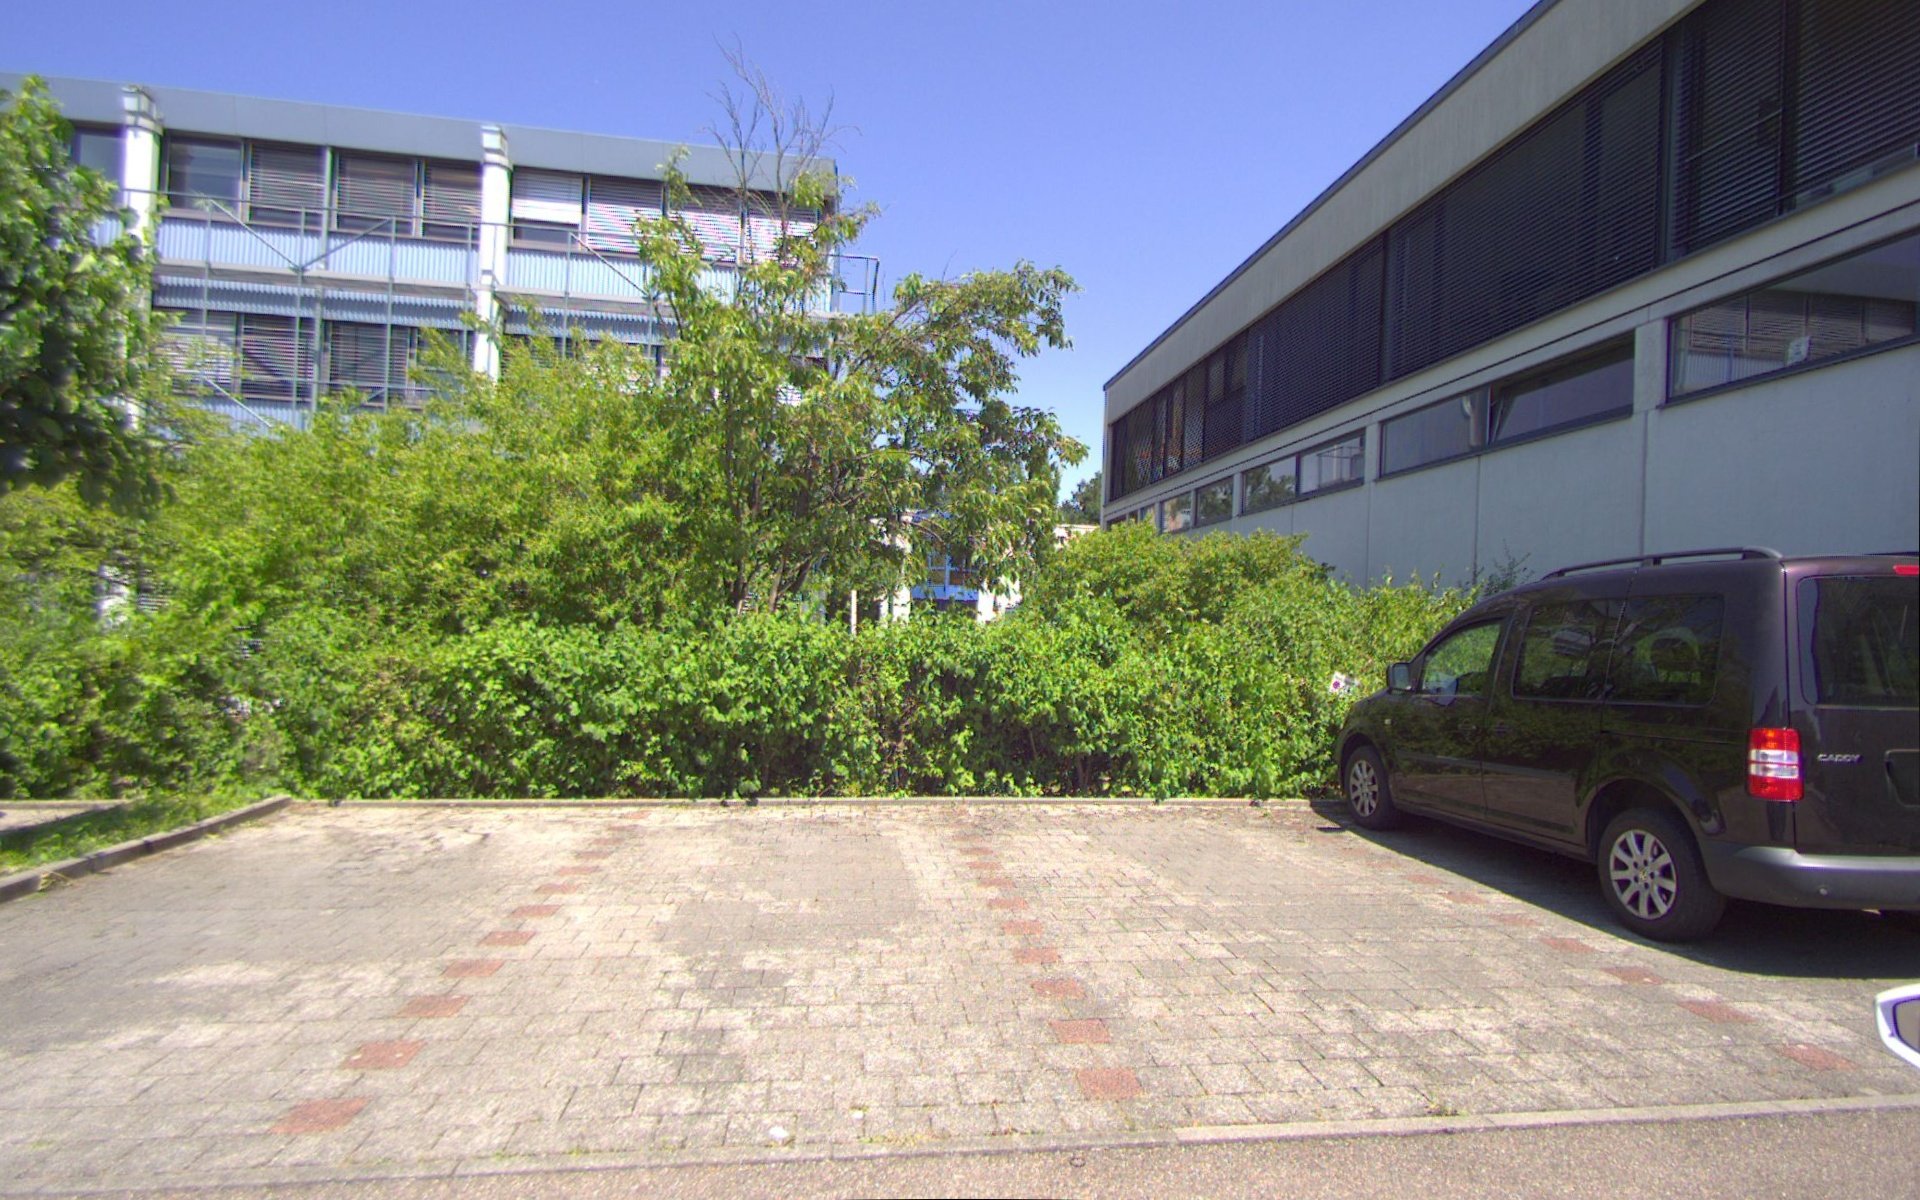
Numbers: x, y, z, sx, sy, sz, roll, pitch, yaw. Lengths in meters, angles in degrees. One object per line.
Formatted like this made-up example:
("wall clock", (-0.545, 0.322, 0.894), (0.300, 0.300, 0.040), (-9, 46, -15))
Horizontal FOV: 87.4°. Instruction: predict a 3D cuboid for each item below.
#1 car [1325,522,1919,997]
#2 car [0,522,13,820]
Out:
("car", (3.991, 0.689, 6.165), (1.647, 1.909, 4.068), (1, -1, -6))
("car", (-6.773, 0.410, 4.095), (1.796, 1.931, 4.729), (1, -1, -8))
